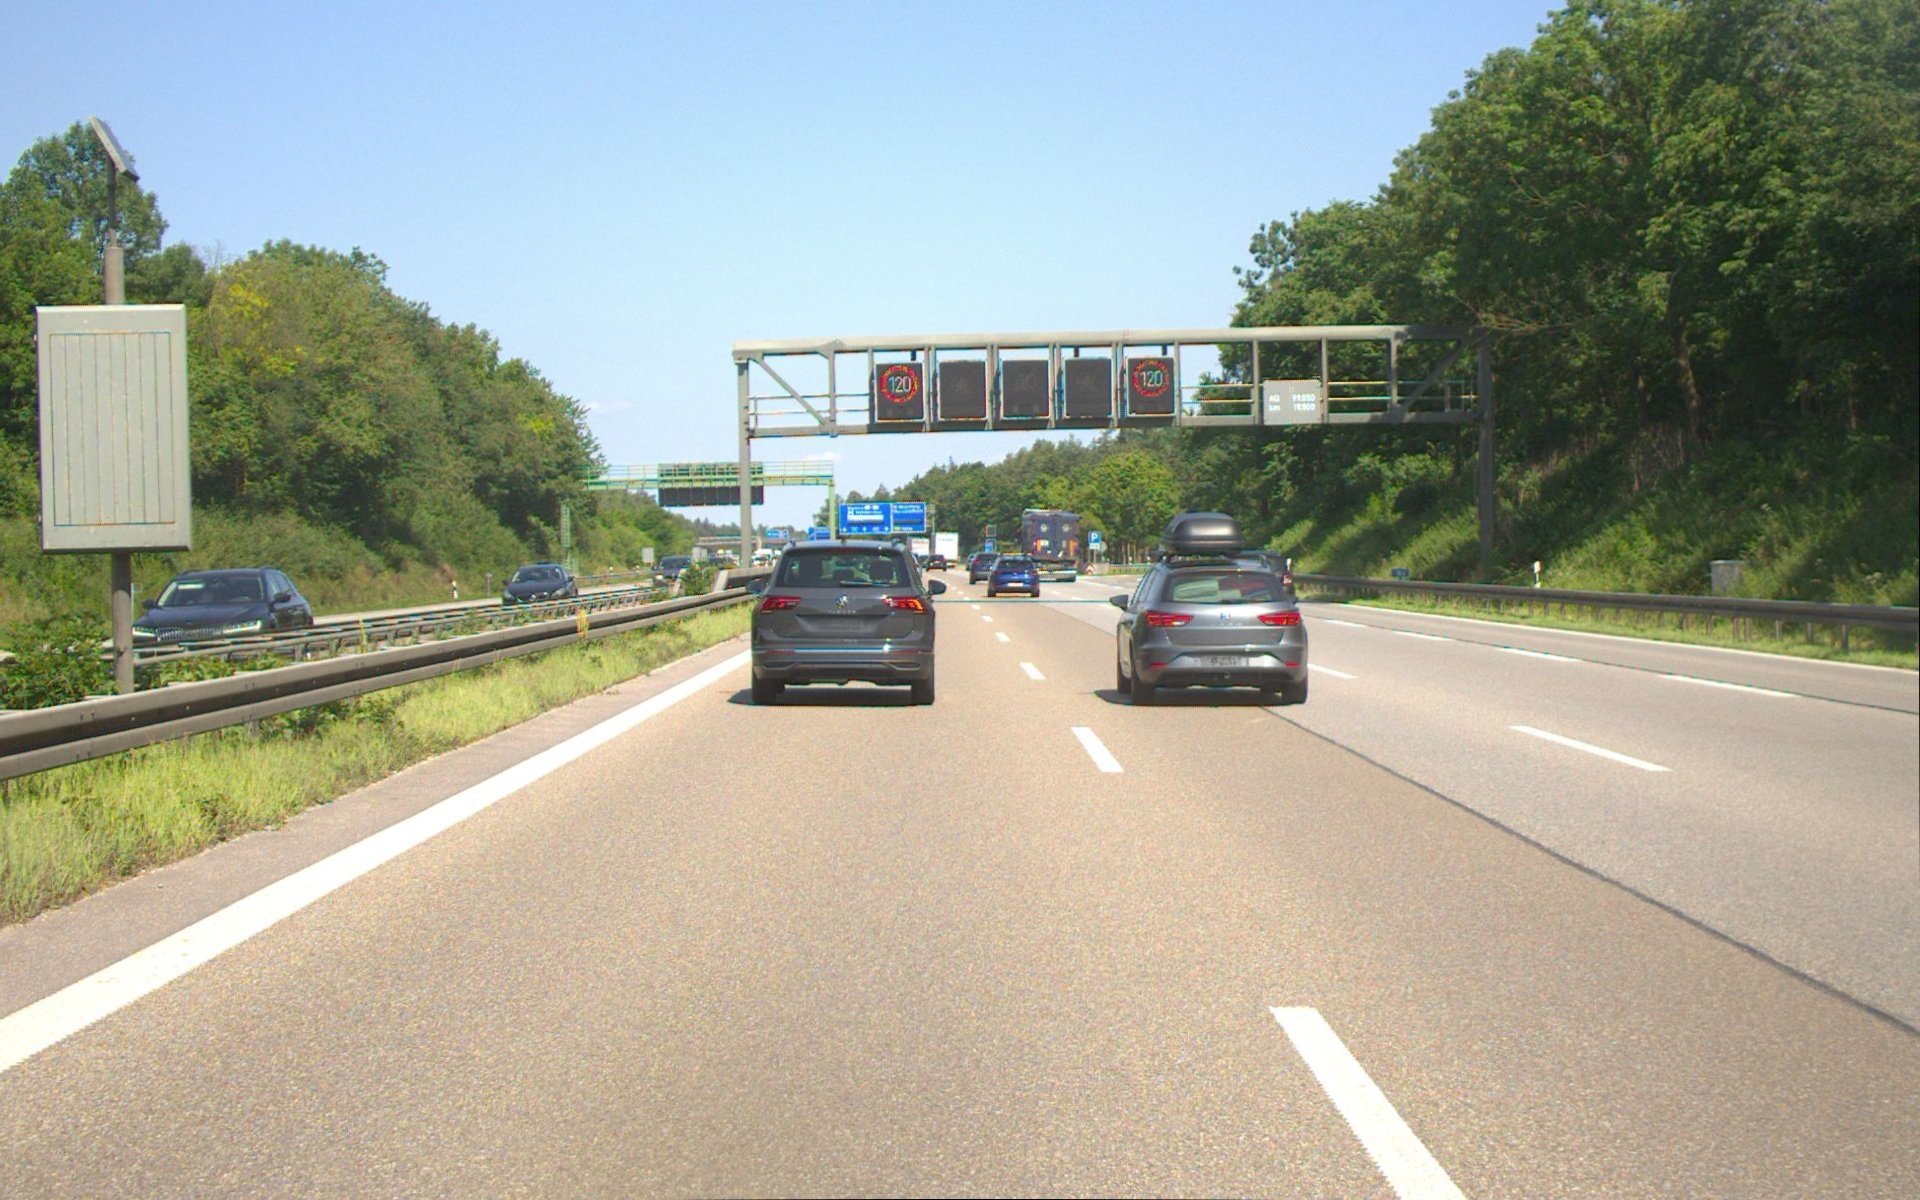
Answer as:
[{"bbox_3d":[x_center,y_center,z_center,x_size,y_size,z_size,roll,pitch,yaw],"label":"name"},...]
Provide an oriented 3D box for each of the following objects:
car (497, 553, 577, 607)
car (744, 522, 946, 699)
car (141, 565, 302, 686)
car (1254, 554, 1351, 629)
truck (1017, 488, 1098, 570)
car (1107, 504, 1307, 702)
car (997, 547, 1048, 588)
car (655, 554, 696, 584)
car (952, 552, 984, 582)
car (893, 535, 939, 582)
[{"bbox_3d":[-11.654,-0.571,94.833,1.713,1.393,4.150,-1,1,-1],"label":"car"},{"bbox_3d":[-1.109,0.062,34.906,1.799,1.663,4.258,1,1,1],"label":"car"},{"bbox_3d":[-9.895,0.313,46.247,1.433,1.523,3.458,-1,1,-1],"label":"car"},{"bbox_3d":[7.461,-0.212,75.216,1.765,1.563,4.258,1,1,1],"label":"car"},{"bbox_3d":[5.329,-3.889,191.093,3.780,4.407,14.052,0,1,-1],"label":"truck"},{"bbox_3d":[2.476,-0.018,35.467,1.665,1.870,4.827,-1,1,0],"label":"car"},{"bbox_3d":[2.197,-1.146,120.389,1.765,1.377,4.258,1,1,1],"label":"car"},{"bbox_3d":[-12.154,-1.338,146.932,1.479,1.206,3.458,-1,1,-1],"label":"car"},{"bbox_3d":[0.402,-1.651,171.347,1.471,1.393,3.410,2,1,-1],"label":"car"},{"bbox_3d":[-1.942,-1.838,151.511,1.993,2.007,4.000,1,1,-1],"label":"car"}]
